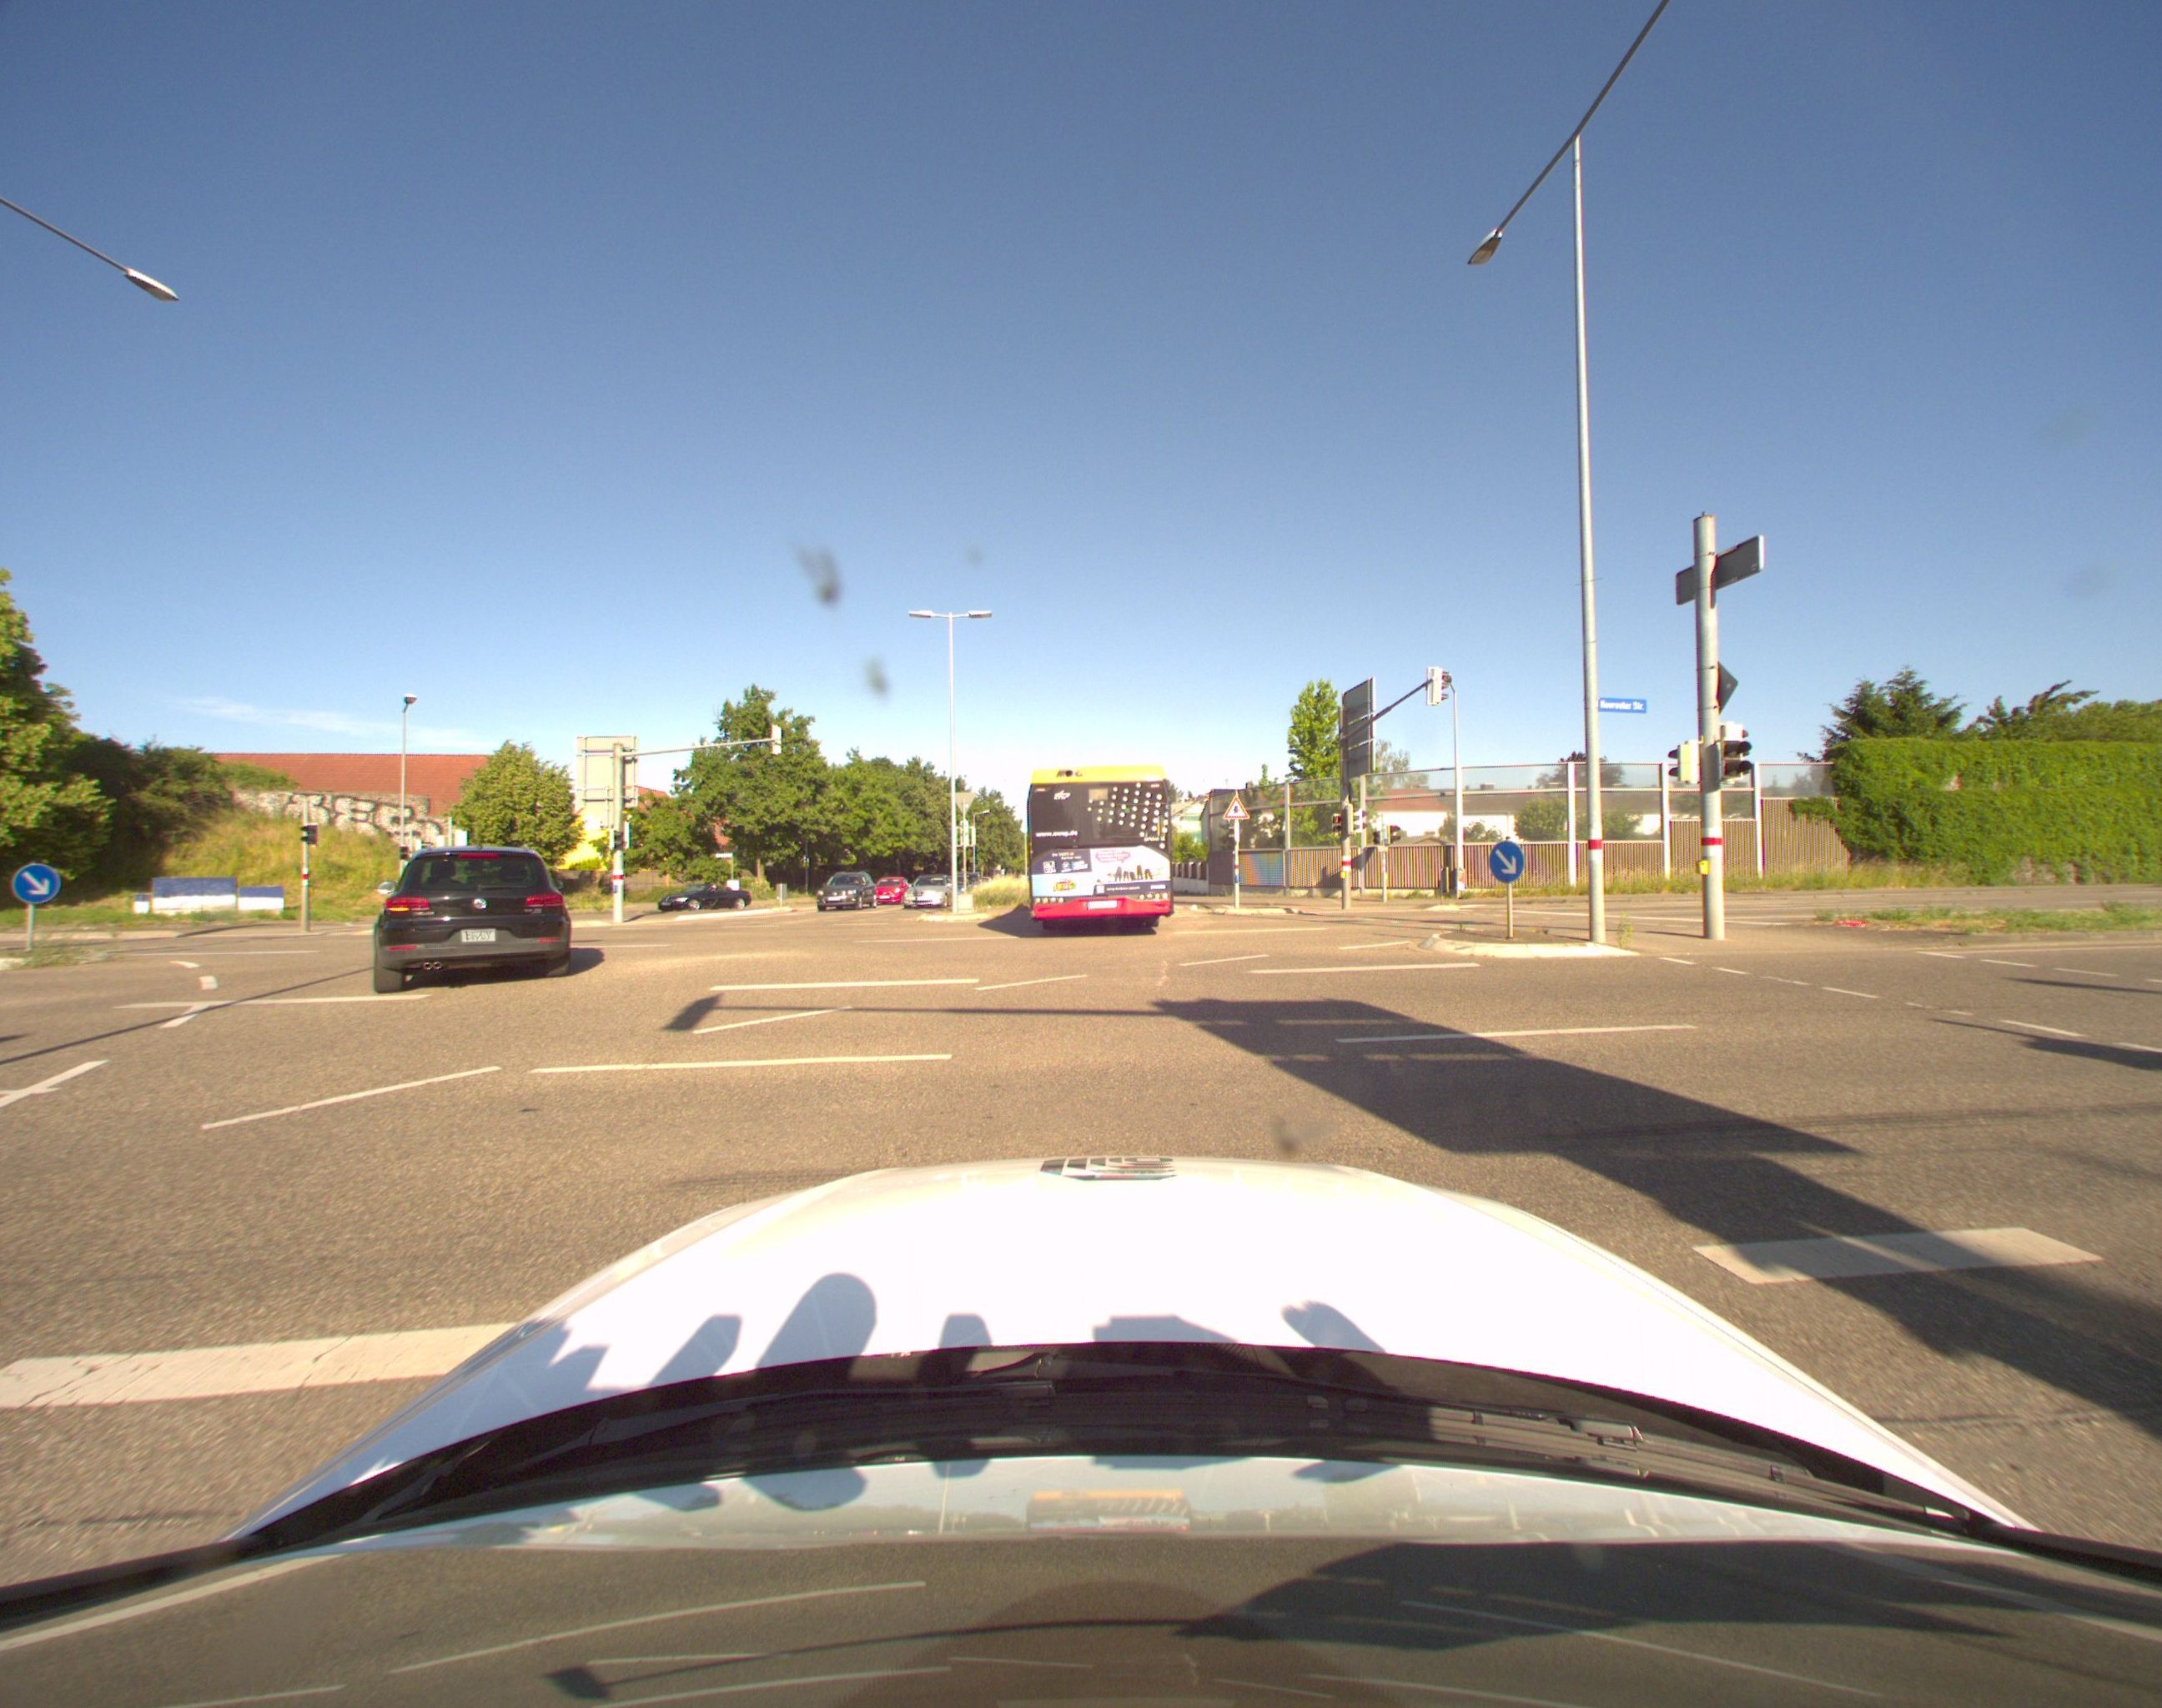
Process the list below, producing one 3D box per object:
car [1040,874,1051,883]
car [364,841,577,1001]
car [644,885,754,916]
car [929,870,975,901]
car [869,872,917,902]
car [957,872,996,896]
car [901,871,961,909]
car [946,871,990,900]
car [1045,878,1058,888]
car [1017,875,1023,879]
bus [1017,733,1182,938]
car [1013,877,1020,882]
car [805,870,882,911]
[{"bbox_3d":[-7.190,4.895,165.092,1.931,1.742,3.990,0,-2,-7],"label":"car"},{"bbox_3d":[-7.755,0.717,10.418,1.841,1.627,3.955,-1,-1,-37],"label":"car"},{"bbox_3d":[-17.843,2.169,38.307,2.025,1.310,4.703,-2,-3,17],"label":"car"},{"bbox_3d":[-6.605,1.610,41.993,1.741,1.483,3.886,-1,-1,0],"label":"car"},{"bbox_3d":[-9.888,1.707,43.072,1.640,1.483,3.712,-1,-1,0],"label":"car"},{"bbox_3d":[-6.792,1.907,53.405,1.988,1.450,4.397,-1,-1,-1],"label":"car"},{"bbox_3d":[-6.538,1.546,35.986,1.787,1.506,4.529,-1,-1,0],"label":"car"},{"bbox_3d":[-6.556,1.800,47.618,1.988,1.616,4.528,-1,-1,-1],"label":"car"},{"bbox_3d":[-5.161,5.111,143.087,1.934,1.704,3.990,0,-2,-7],"label":"car"},{"bbox_3d":[-19.430,7.363,259.577,1.932,1.454,3.988,0,-2,-8],"label":"car"},{"bbox_3d":[0.362,-0.310,20.202,2.748,3.458,12.397,-2,0,0],"label":"bus"},{"bbox_3d":[-18.485,7.337,233.336,1.931,1.542,3.990,0,-2,-7],"label":"car"},{"bbox_3d":[-10.321,1.537,35.754,1.987,1.644,4.529,-1,-1,0],"label":"car"}]
